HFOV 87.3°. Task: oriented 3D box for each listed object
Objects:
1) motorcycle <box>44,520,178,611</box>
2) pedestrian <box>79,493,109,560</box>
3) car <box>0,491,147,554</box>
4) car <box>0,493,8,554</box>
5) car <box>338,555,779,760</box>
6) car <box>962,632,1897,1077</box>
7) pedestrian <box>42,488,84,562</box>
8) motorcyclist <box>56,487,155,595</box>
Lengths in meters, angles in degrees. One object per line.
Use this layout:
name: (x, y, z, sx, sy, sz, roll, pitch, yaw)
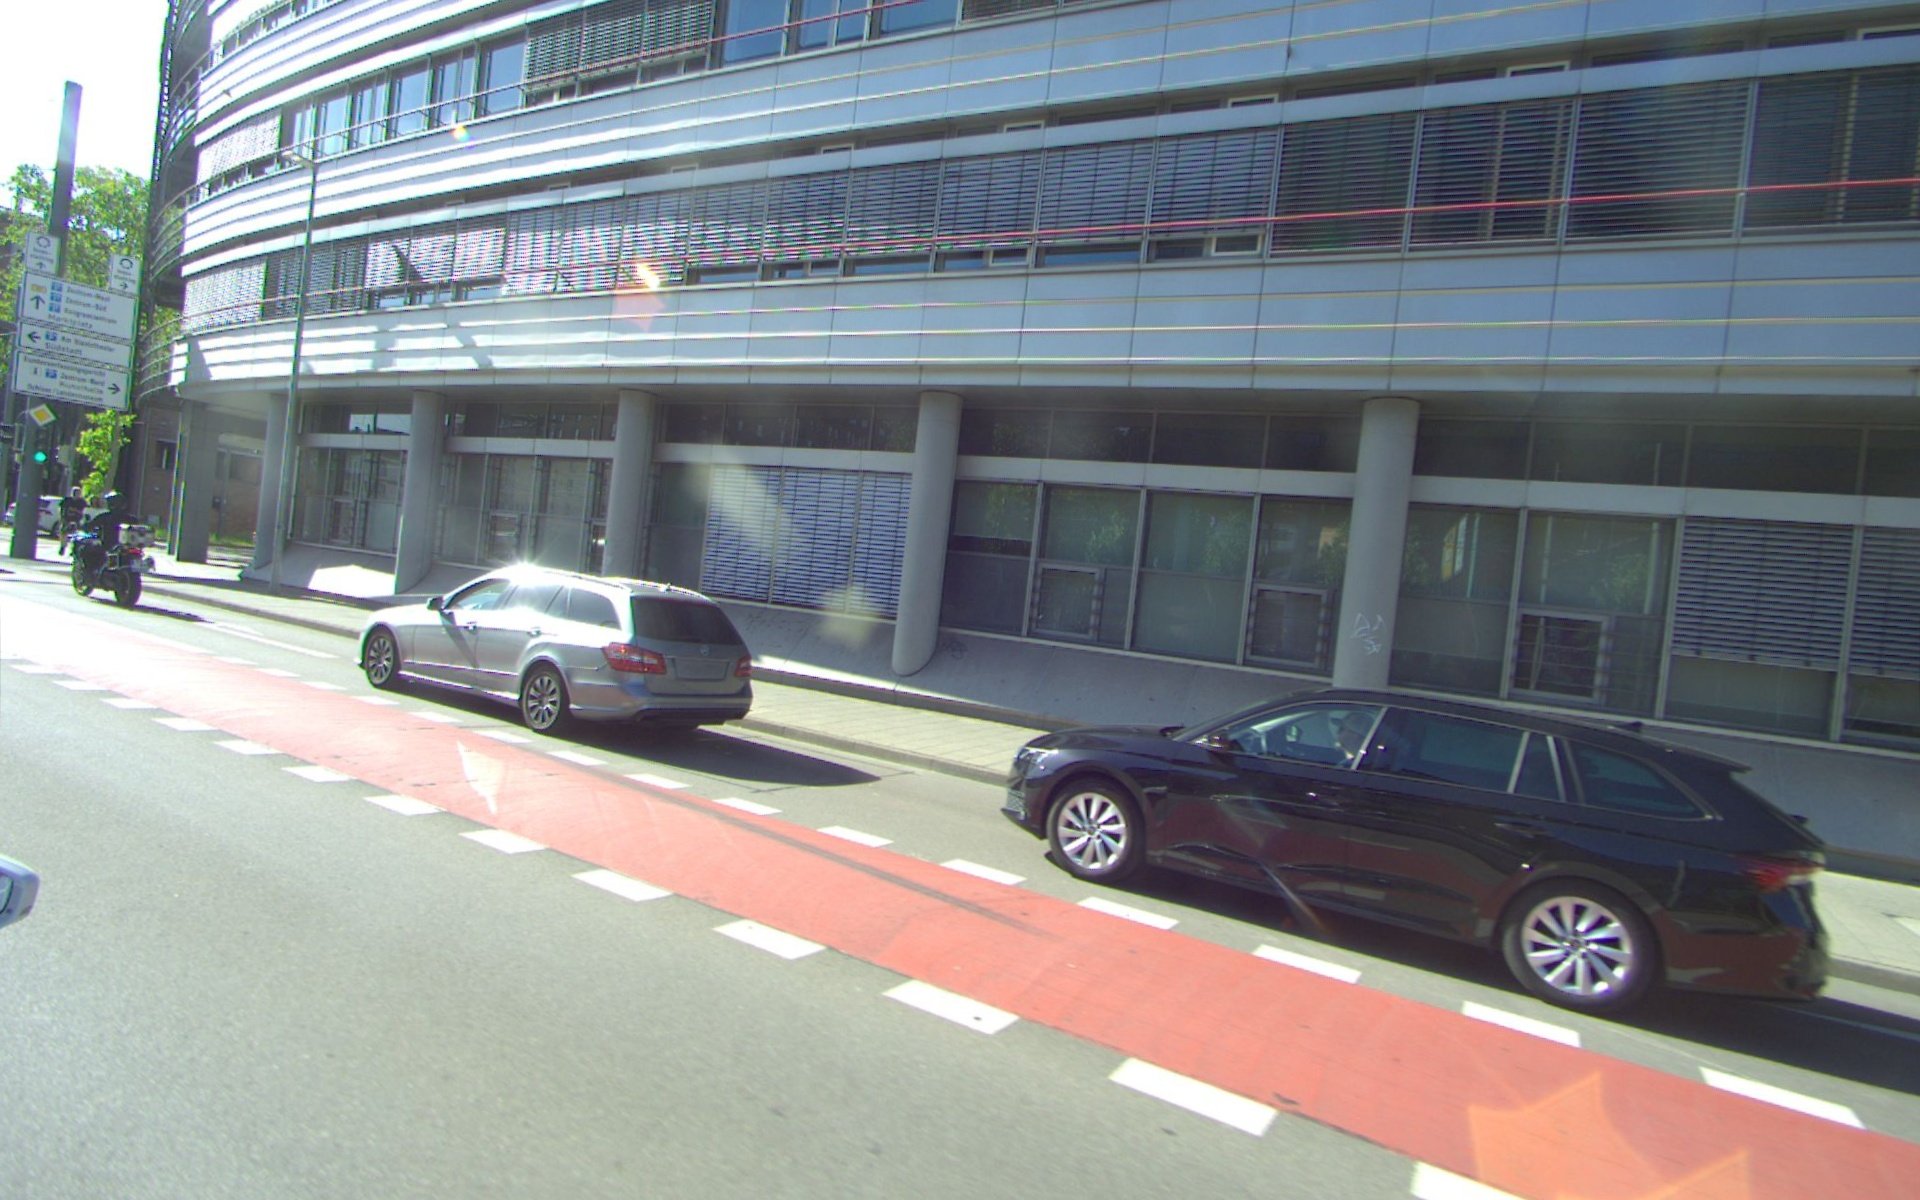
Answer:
motorcycle: (-13.674, -0.568, 16.184, 2.350, 1.215, 0.830, 6, -1, 31)
pedestrian: (-22.565, -1.917, 26.222, 0.554, 1.667, 0.426, 8, 3, 40)
car: (-33.448, -2.893, 37.797, 1.876, 1.601, 4.004, 9, -2, 18)
car: (-21.844, -1.693, 20.772, 4.066, 1.602, 1.911, 7, -2, 29)
car: (-4.307, 0.497, 10.501, 4.709, 1.413, 1.724, 6, 0, 32)
car: (2.464, 1.203, 6.288, 4.559, 1.440, 1.724, 6, 0, 30)
pedestrian: (-23.075, -1.923, 25.875, 0.599, 1.822, 0.636, 8, 3, 40)
motorcyclist: (-13.754, -0.947, 16.204, 0.926, 1.579, 0.830, 6, -1, 30)
